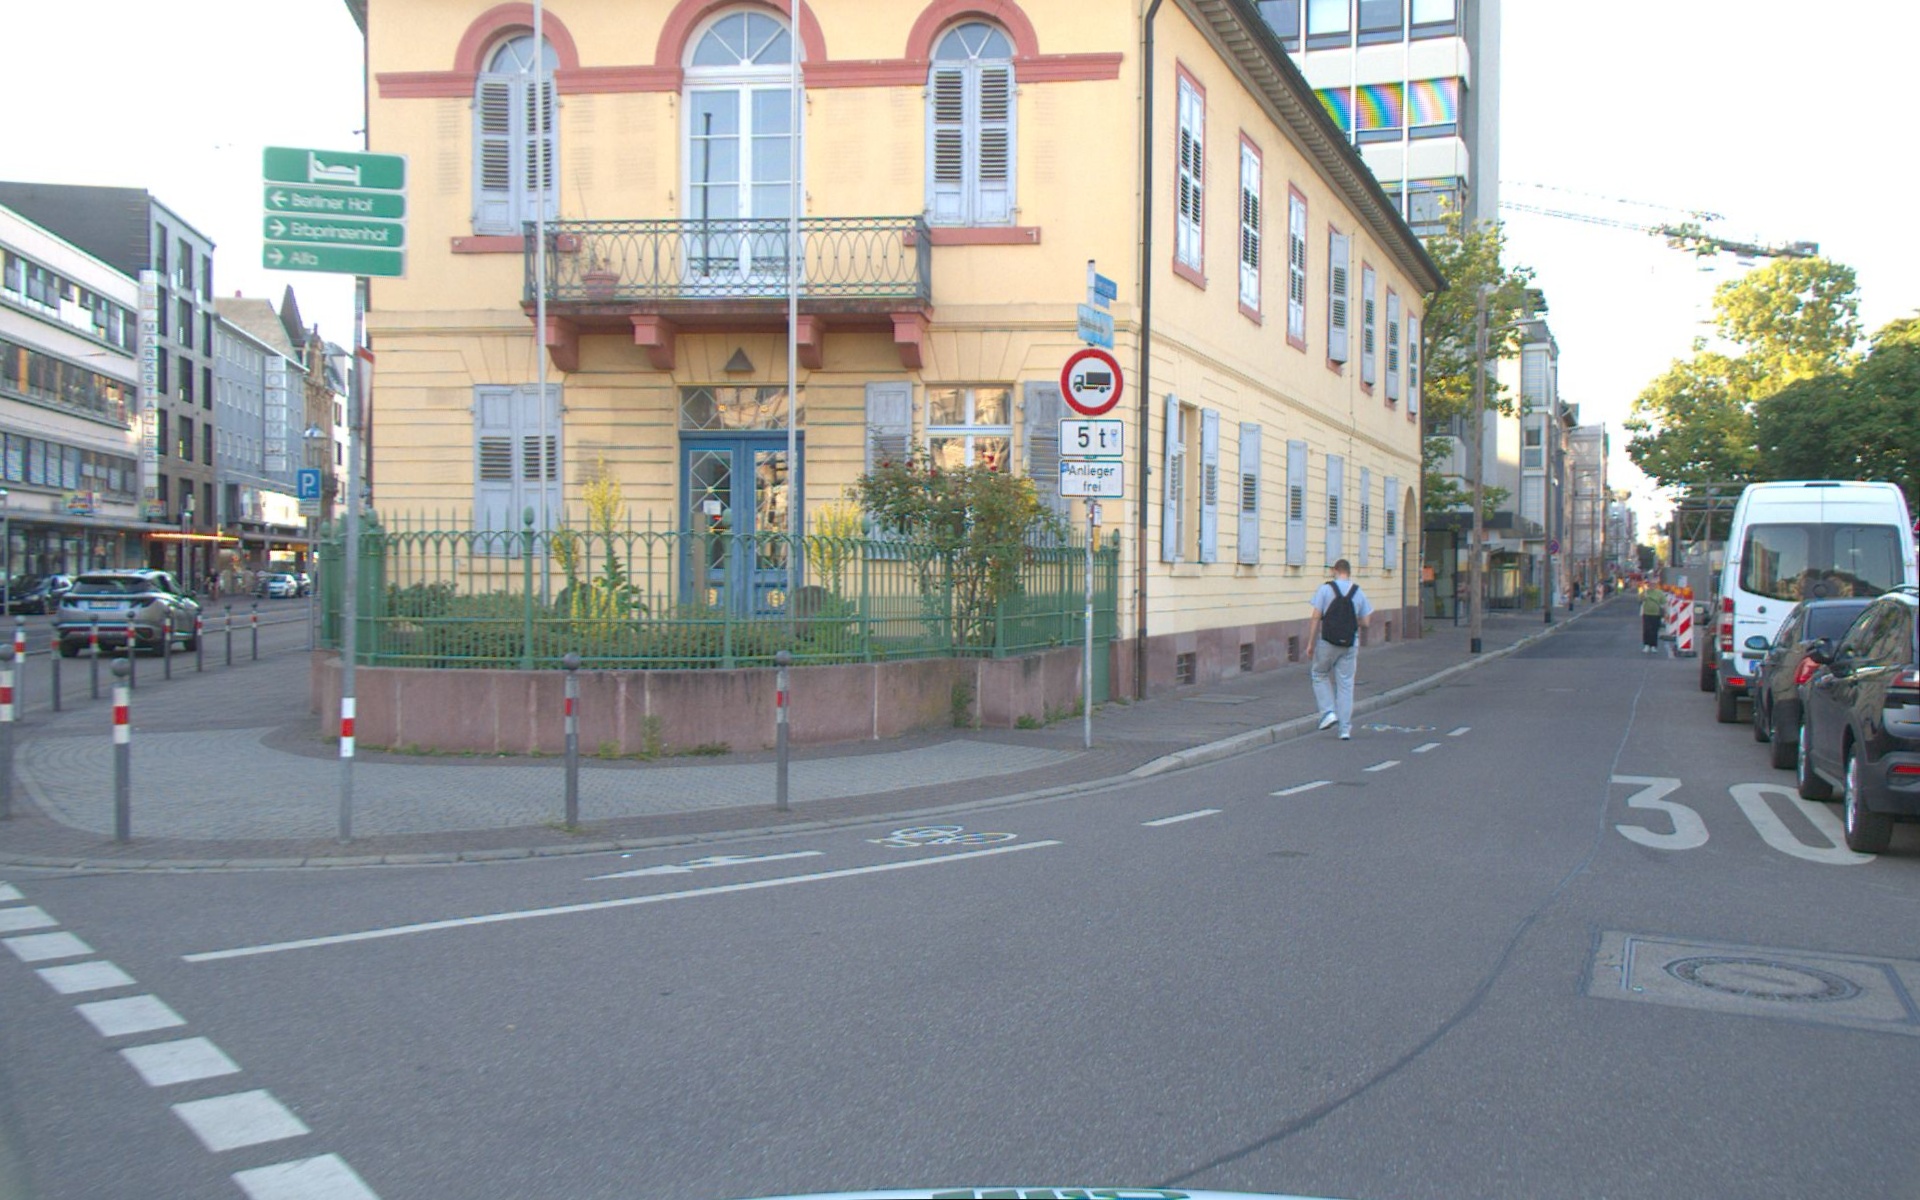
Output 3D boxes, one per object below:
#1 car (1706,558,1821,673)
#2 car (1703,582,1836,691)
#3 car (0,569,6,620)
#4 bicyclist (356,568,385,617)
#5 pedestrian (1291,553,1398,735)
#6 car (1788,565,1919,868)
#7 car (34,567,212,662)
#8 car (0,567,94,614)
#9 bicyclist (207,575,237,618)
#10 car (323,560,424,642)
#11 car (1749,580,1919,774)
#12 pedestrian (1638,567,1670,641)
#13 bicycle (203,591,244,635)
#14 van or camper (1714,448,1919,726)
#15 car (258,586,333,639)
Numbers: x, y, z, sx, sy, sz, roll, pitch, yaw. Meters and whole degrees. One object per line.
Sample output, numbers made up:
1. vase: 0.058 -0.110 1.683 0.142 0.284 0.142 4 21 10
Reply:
1. car: 14.242 0.218 29.472 1.678 1.881 4.020 1 1 24
2. car: 12.286 0.490 25.298 1.658 1.485 4.097 1 1 24
3. car: -32.873 -0.172 53.628 1.956 1.694 3.994 0 1 -7
4. bicyclist: -19.284 -0.240 54.105 0.815 1.596 0.785 0 0 -13
5. pedestrian: 3.857 0.417 16.566 0.859 1.754 0.828 1 1 27
6. car: 6.357 0.582 10.313 1.742 1.570 4.291 1 1 21
7. car: -16.159 0.244 32.174 1.909 1.690 4.523 1 0 -11
8. car: -34.304 -0.358 62.045 1.956 1.694 3.994 0 1 -7
9. bicyclist: -35.408 -0.180 79.370 1.146 2.049 1.042 0 0 -13
10. car: -13.023 -0.004 36.889 1.702 1.738 3.429 0 1 -12
11. car: 8.079 0.563 14.723 1.694 1.454 4.473 1 1 23
12. pedestrian: 15.820 0.081 37.710 0.601 1.657 0.817 1 1 26
13. bicycle: -35.409 0.614 79.611 1.159 2.049 3.331 0 1 -13
14. van or camper: 10.294 -0.170 20.093 2.036 2.823 6.446 0 1 25
15. car: -23.859 0.414 59.513 1.776 1.840 3.989 0 1 -11
